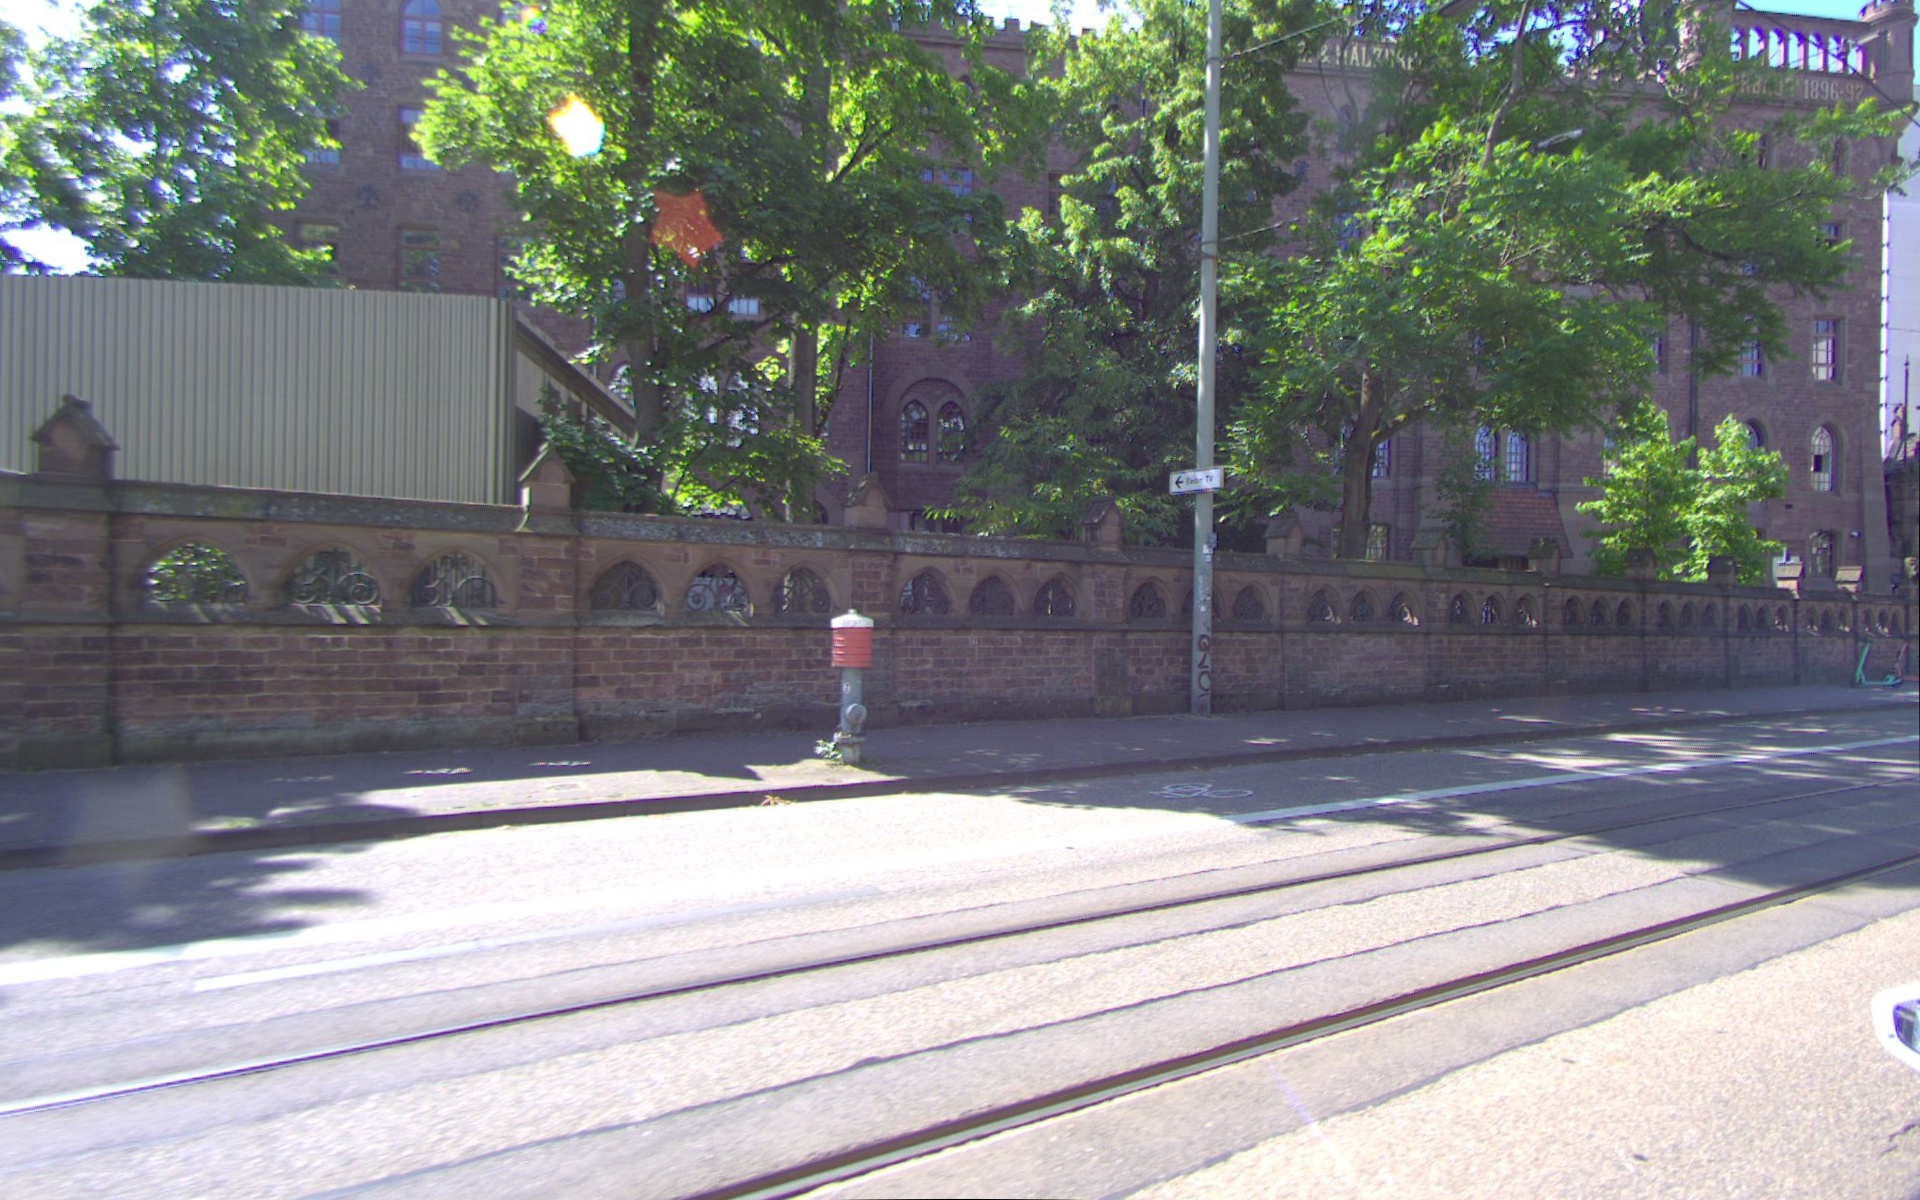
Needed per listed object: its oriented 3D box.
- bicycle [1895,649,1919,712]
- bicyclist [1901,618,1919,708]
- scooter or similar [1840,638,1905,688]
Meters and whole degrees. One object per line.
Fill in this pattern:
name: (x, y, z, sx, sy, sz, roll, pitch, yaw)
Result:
bicycle: (18.961, 1.552, 19.482, 1.990, 1.170, 0.659, 1, 0, -30)
bicyclist: (18.859, 1.211, 19.396, 1.133, 1.721, 0.721, 1, 0, -31)
scooter or similar: (22.027, 1.518, 24.248, 1.162, 1.144, 0.334, 1, 0, 9)
